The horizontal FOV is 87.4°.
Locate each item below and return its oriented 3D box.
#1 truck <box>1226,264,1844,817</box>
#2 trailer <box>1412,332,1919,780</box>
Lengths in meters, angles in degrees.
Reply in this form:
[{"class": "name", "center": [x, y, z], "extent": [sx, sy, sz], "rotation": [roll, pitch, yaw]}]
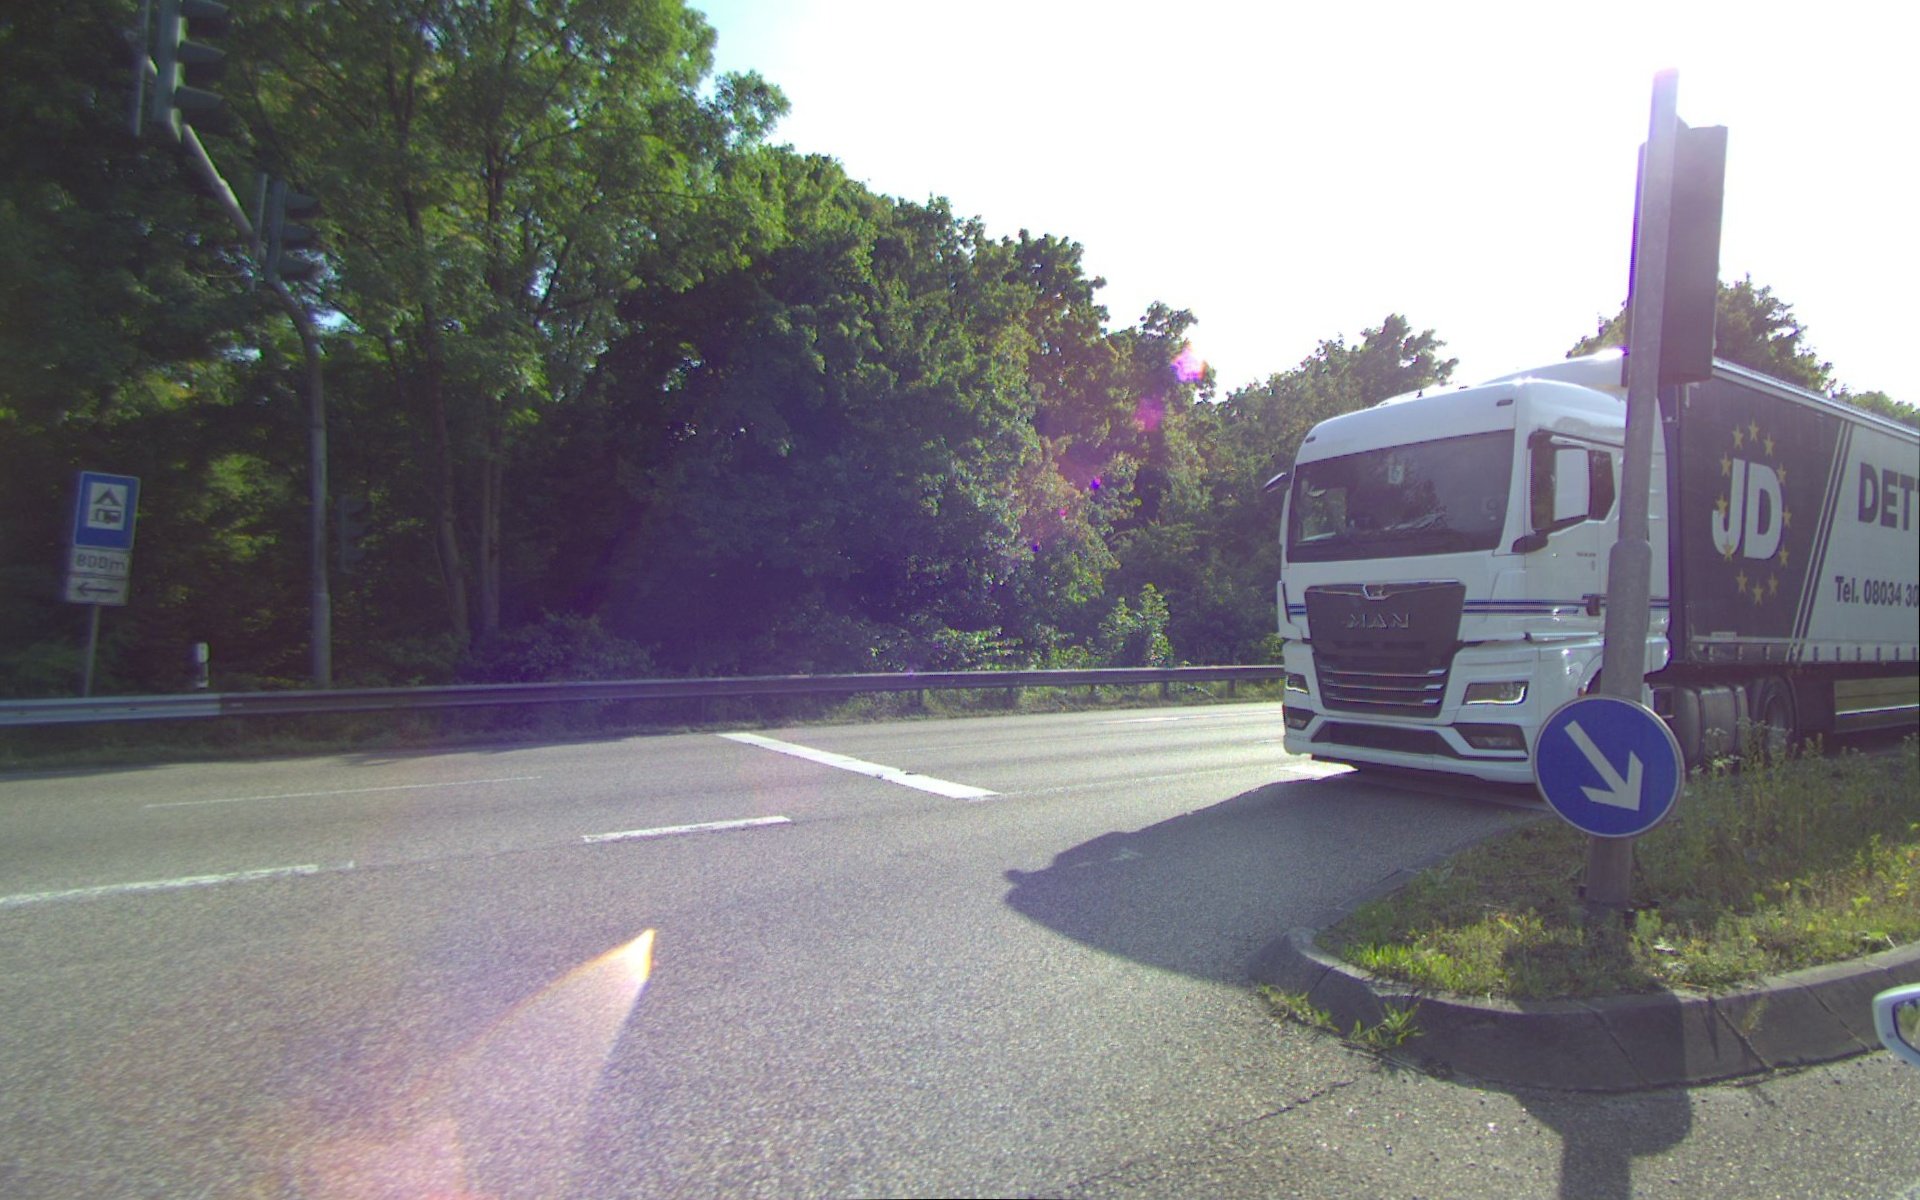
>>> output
[{"class": "truck", "center": [6.151, -0.379, 10.403], "extent": [6.650, 4.050, 2.874], "rotation": [1, 0, -33]}, {"class": "trailer", "center": [11.831, -0.275, 14.113], "extent": [13.862, 4.049, 2.974], "rotation": [1, 0, -33]}]
